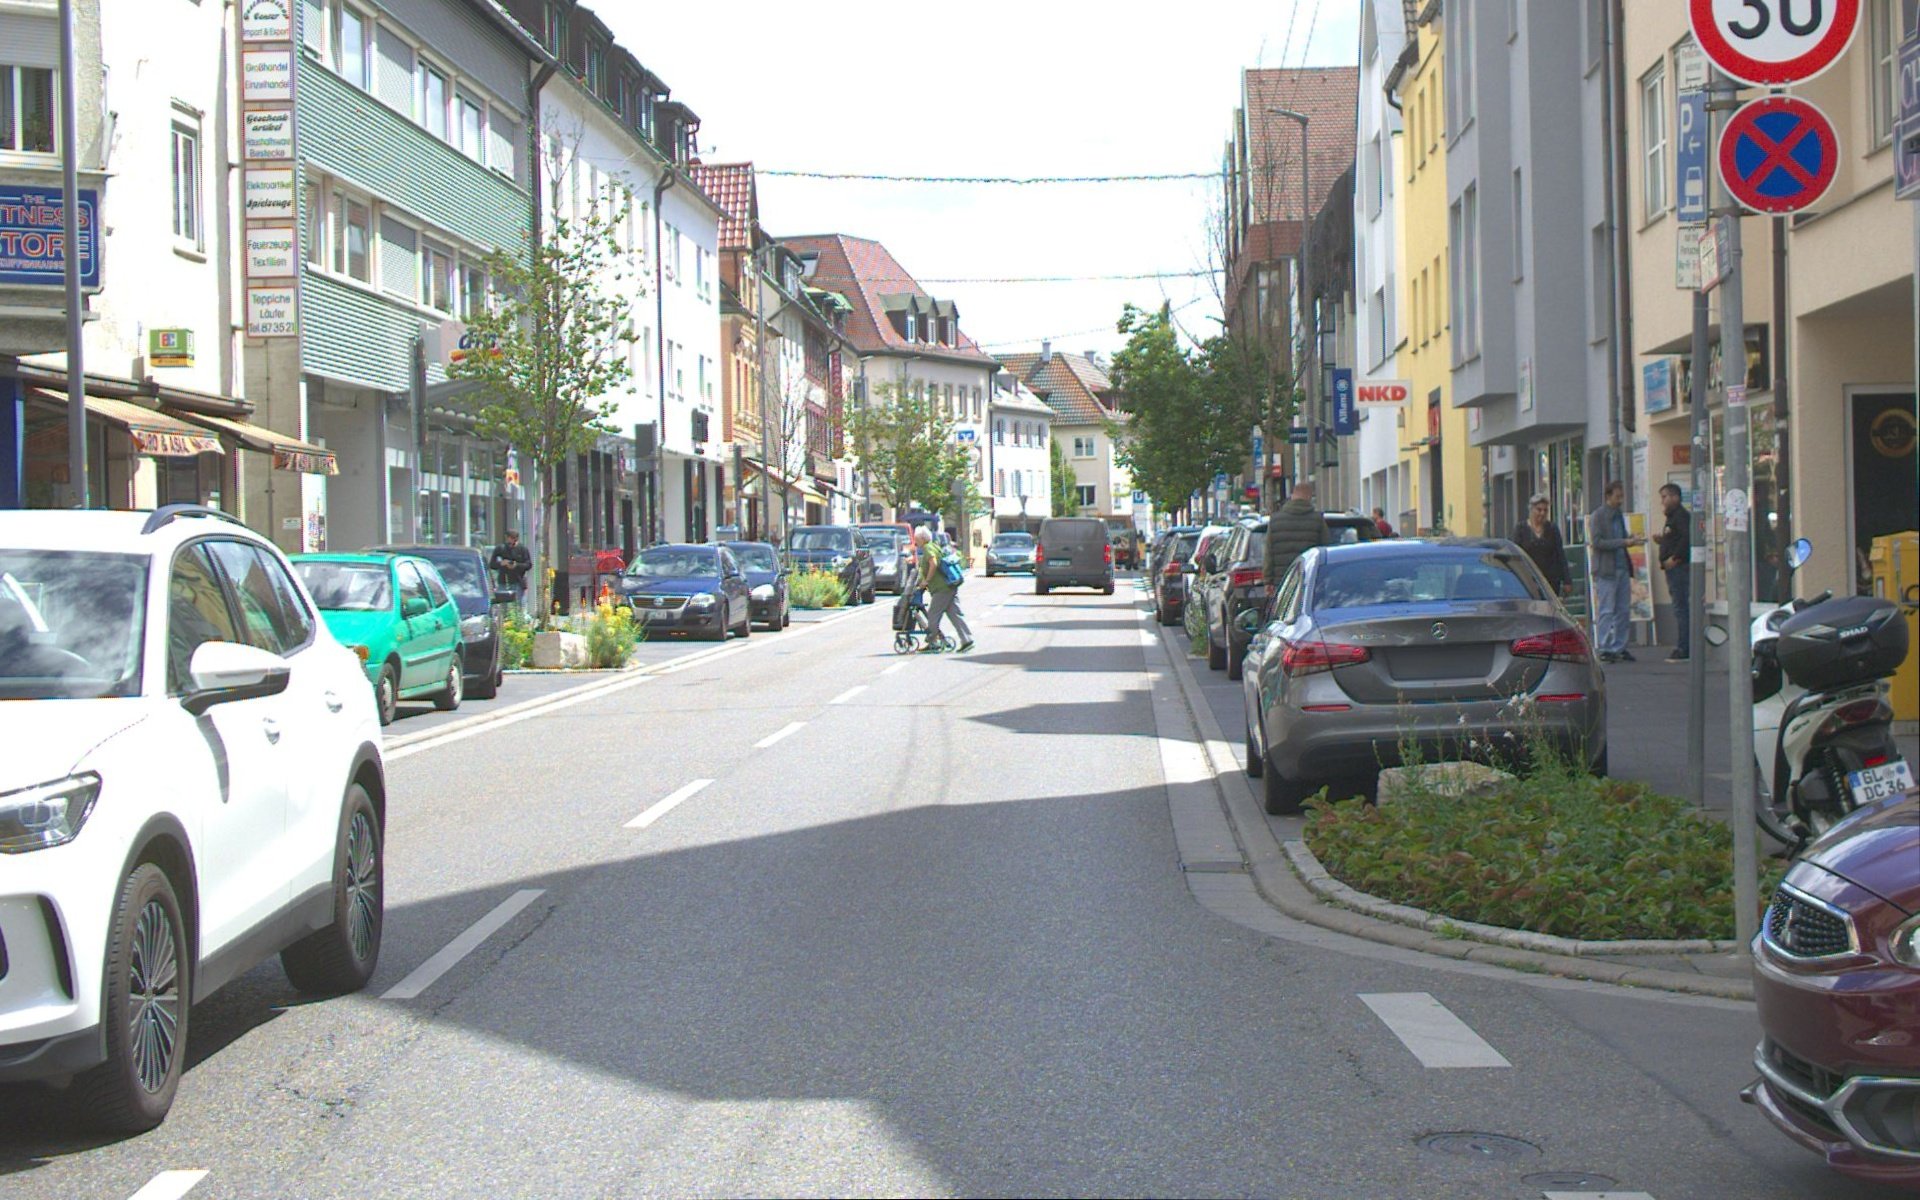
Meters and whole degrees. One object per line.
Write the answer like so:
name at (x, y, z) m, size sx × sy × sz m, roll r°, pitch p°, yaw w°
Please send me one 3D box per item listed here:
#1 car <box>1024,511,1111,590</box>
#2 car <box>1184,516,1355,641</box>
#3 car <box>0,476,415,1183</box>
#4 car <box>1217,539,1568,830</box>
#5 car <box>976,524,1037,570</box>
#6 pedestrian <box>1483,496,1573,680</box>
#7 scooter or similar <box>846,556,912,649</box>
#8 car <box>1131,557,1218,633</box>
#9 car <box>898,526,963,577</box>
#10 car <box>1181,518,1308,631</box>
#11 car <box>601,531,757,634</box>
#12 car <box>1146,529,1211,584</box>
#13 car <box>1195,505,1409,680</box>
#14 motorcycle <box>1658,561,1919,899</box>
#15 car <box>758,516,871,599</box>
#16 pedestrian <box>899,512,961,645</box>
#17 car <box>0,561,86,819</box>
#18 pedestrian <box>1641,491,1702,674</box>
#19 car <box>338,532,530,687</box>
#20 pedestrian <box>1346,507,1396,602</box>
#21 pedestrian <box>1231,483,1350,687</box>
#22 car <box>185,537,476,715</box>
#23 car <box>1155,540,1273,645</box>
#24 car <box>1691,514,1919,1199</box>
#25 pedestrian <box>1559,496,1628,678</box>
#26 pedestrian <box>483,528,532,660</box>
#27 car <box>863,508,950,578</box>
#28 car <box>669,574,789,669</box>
car at (2.615, -1.196, 83.976) m, size 2.041 × 1.842 × 4.999 m, roll 1°, pitch 0°, yaw 2°
car at (3.914, -0.281, 44.057) m, size 1.689 × 1.435 × 4.296 m, roll -3°, pitch 0°, yaw 0°
car at (-2.897, 0.507, 10.046) m, size 1.788 × 1.634 × 4.116 m, roll 1°, pitch 0°, yaw 2°
car at (2.334, 0.403, 19.196) m, size 1.707 × 1.415 × 4.317 m, roll 1°, pitch 0°, yaw 5°
car at (1.651, -1.846, 120.697) m, size 1.905 × 1.558 × 4.645 m, roll 1°, pitch 0°, yaw 3°
pedestrian at (5.362, -0.116, 32.479) m, size 0.743 × 1.712 × 0.656 m, roll -1°, pitch 0°, yaw 2°
scooter or similar at (-0.999, 0.032, 42.250) m, size 0.781 × 1.122 × 0.630 m, roll 1°, pitch 0°, yaw -2°
car at (4.659, -0.119, 75.148) m, size 1.721 × 1.571 × 4.109 m, roll 1°, pitch 0°, yaw 2°
car at (-0.910, -1.548, 108.871) m, size 1.799 × 1.592 × 4.389 m, roll 0°, pitch 1°, yaw 3°
car at (4.125, -0.376, 50.314) m, size 1.689 × 1.568 × 3.756 m, roll 1°, pitch 0°, yaw 3°
car at (-4.243, -0.294, 52.577) m, size 1.790 × 1.507 × 4.712 m, roll 0°, pitch 1°, yaw 3°
car at (6.057, -1.188, 95.030) m, size 1.721 × 1.488 × 4.108 m, roll 1°, pitch 0°, yaw 4°
car at (3.395, -0.116, 34.793) m, size 1.799 × 1.598 × 4.204 m, roll -2°, pitch 1°, yaw 2°
motorcycle at (3.456, 0.480, 14.040) m, size 0.659 × 1.255 × 2.376 m, roll 1°, pitch 0°, yaw -1°
car at (-3.153, -0.916, 75.391) m, size 1.816 × 1.749 × 4.668 m, roll 1°, pitch 0°, yaw 6°
pedestrian at (-0.372, -0.266, 42.267) m, size 0.731 × 1.612 × 0.651 m, roll 1°, pitch 0°, yaw -2°
car at (-6.088, 0.472, 18.273) m, size 1.845 × 1.393 × 4.037 m, roll 1°, pitch 0°, yaw 0°
pedestrian at (6.706, -0.166, 32.404) m, size 0.435 × 1.712 × 0.537 m, roll 1°, pitch 0°, yaw 0°
car at (-5.189, 0.082, 34.227) m, size 1.596 × 1.441 × 3.557 m, roll 1°, pitch 0°, yaw -4°
pedestrian at (6.852, -0.754, 57.312) m, size 0.750 × 1.548 × 0.726 m, roll -1°, pitch 0°, yaw 2°
pedestrian at (3.097, -0.142, 32.308) m, size 0.975 × 1.857 × 0.864 m, roll -2°, pitch 0°, yaw 2°
car at (-5.322, 0.200, 29.491) m, size 1.586 × 1.409 × 3.668 m, roll 1°, pitch 0°, yaw 4°
car at (3.998, -0.155, 54.653) m, size 1.689 × 1.467 × 4.524 m, roll 1°, pitch 2°, yaw 2°
car at (3.628, 0.616, 7.485) m, size 3.746 × 1.525 × 1.537 m, roll 1°, pitch 0°, yaw 2°
pedestrian at (6.039, -0.129, 32.805) m, size 0.535 × 1.712 × 0.606 m, roll 1°, pitch 0°, yaw 1°
pedestrian at (-6.083, -0.081, 46.252) m, size 0.548 × 1.751 × 0.729 m, roll 1°, pitch 0°, yaw 0°
car at (-1.339, -1.443, 88.412) m, size 1.816 × 1.749 × 4.463 m, roll 1°, pitch 0°, yaw 4°
car at (-3.905, 0.344, 58.683) m, size 1.790 × 1.498 × 4.178 m, roll 1°, pitch 1°, yaw 0°
